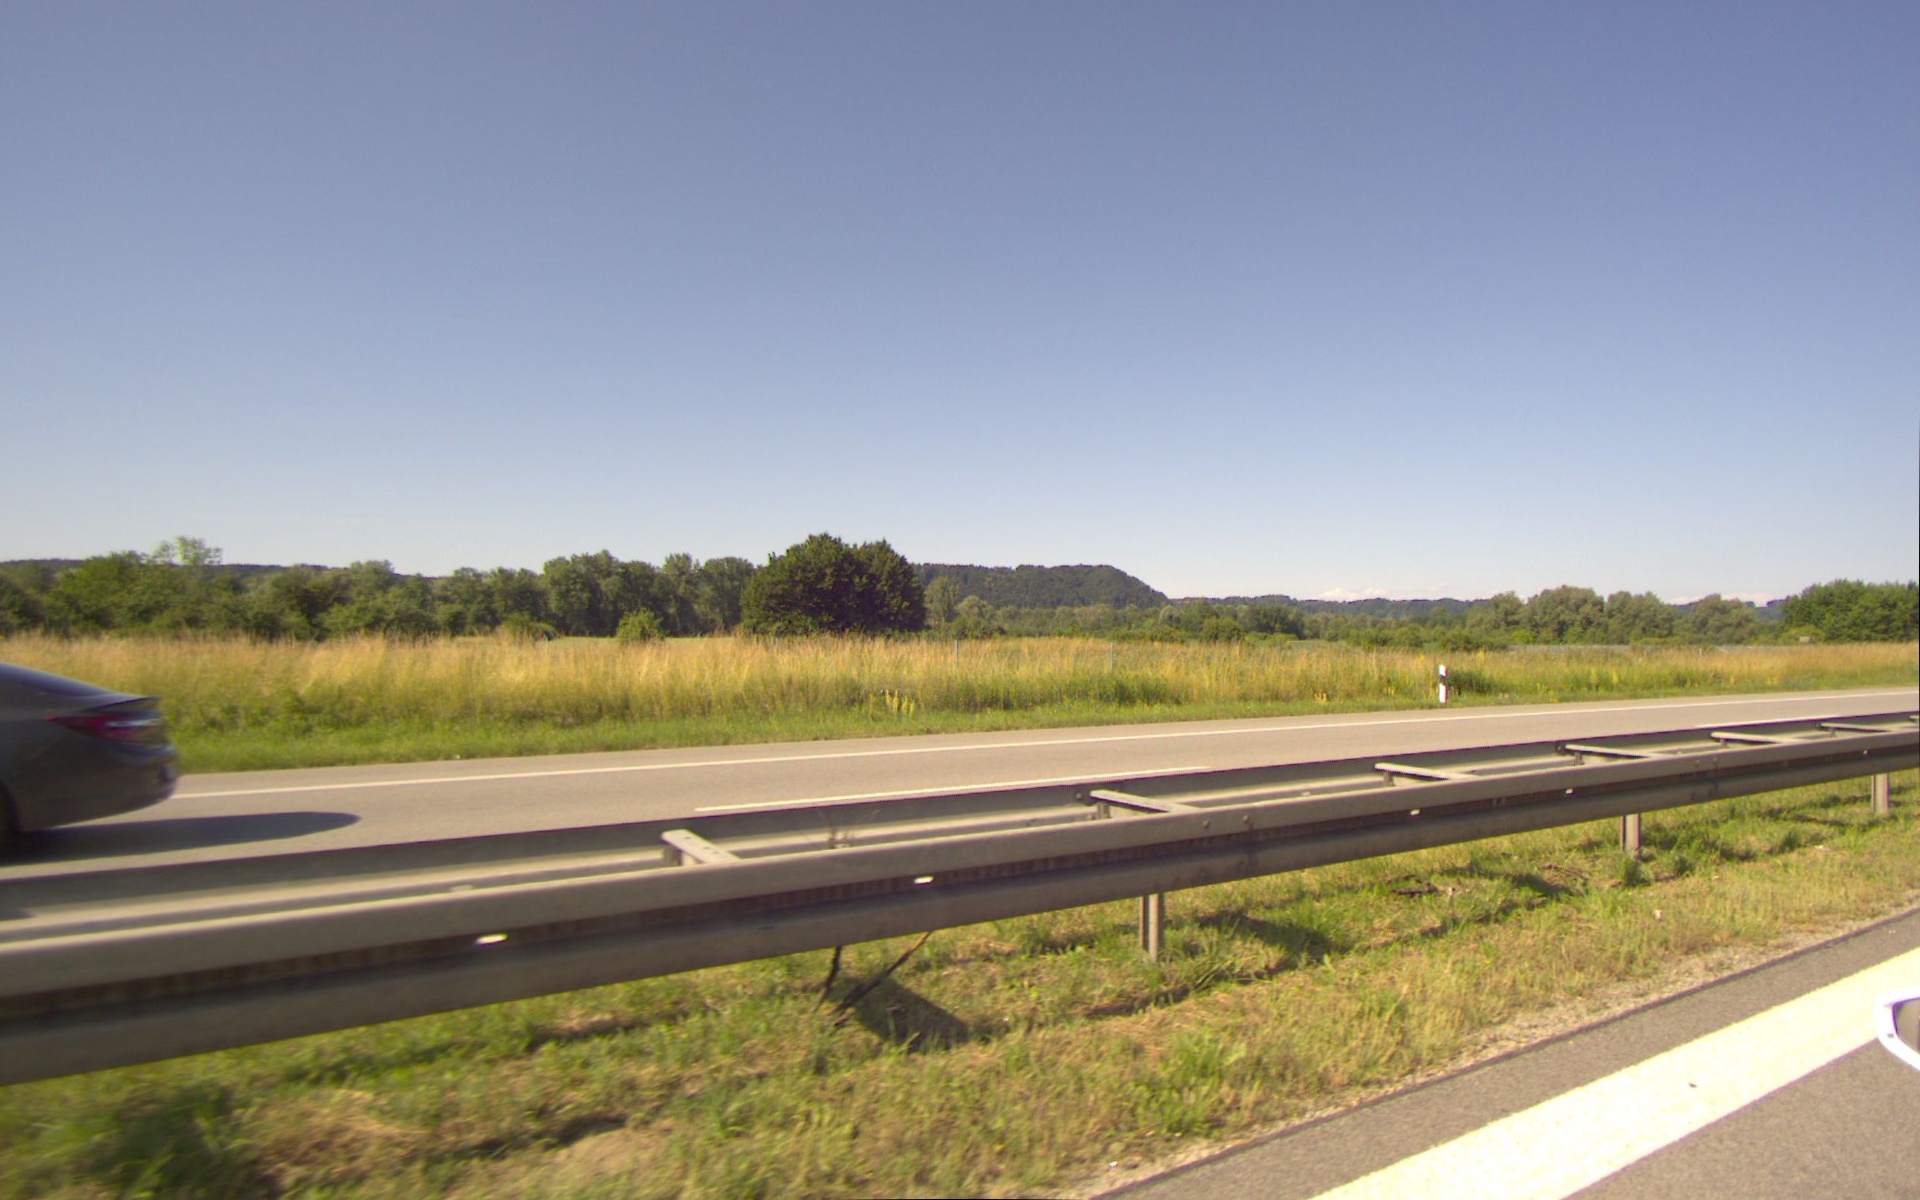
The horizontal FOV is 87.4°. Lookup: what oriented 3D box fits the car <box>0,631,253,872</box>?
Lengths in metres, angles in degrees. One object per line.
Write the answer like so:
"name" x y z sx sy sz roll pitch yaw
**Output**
"car" -7.602 0.947 6.416 4.855 1.505 1.762 1 -2 -30
